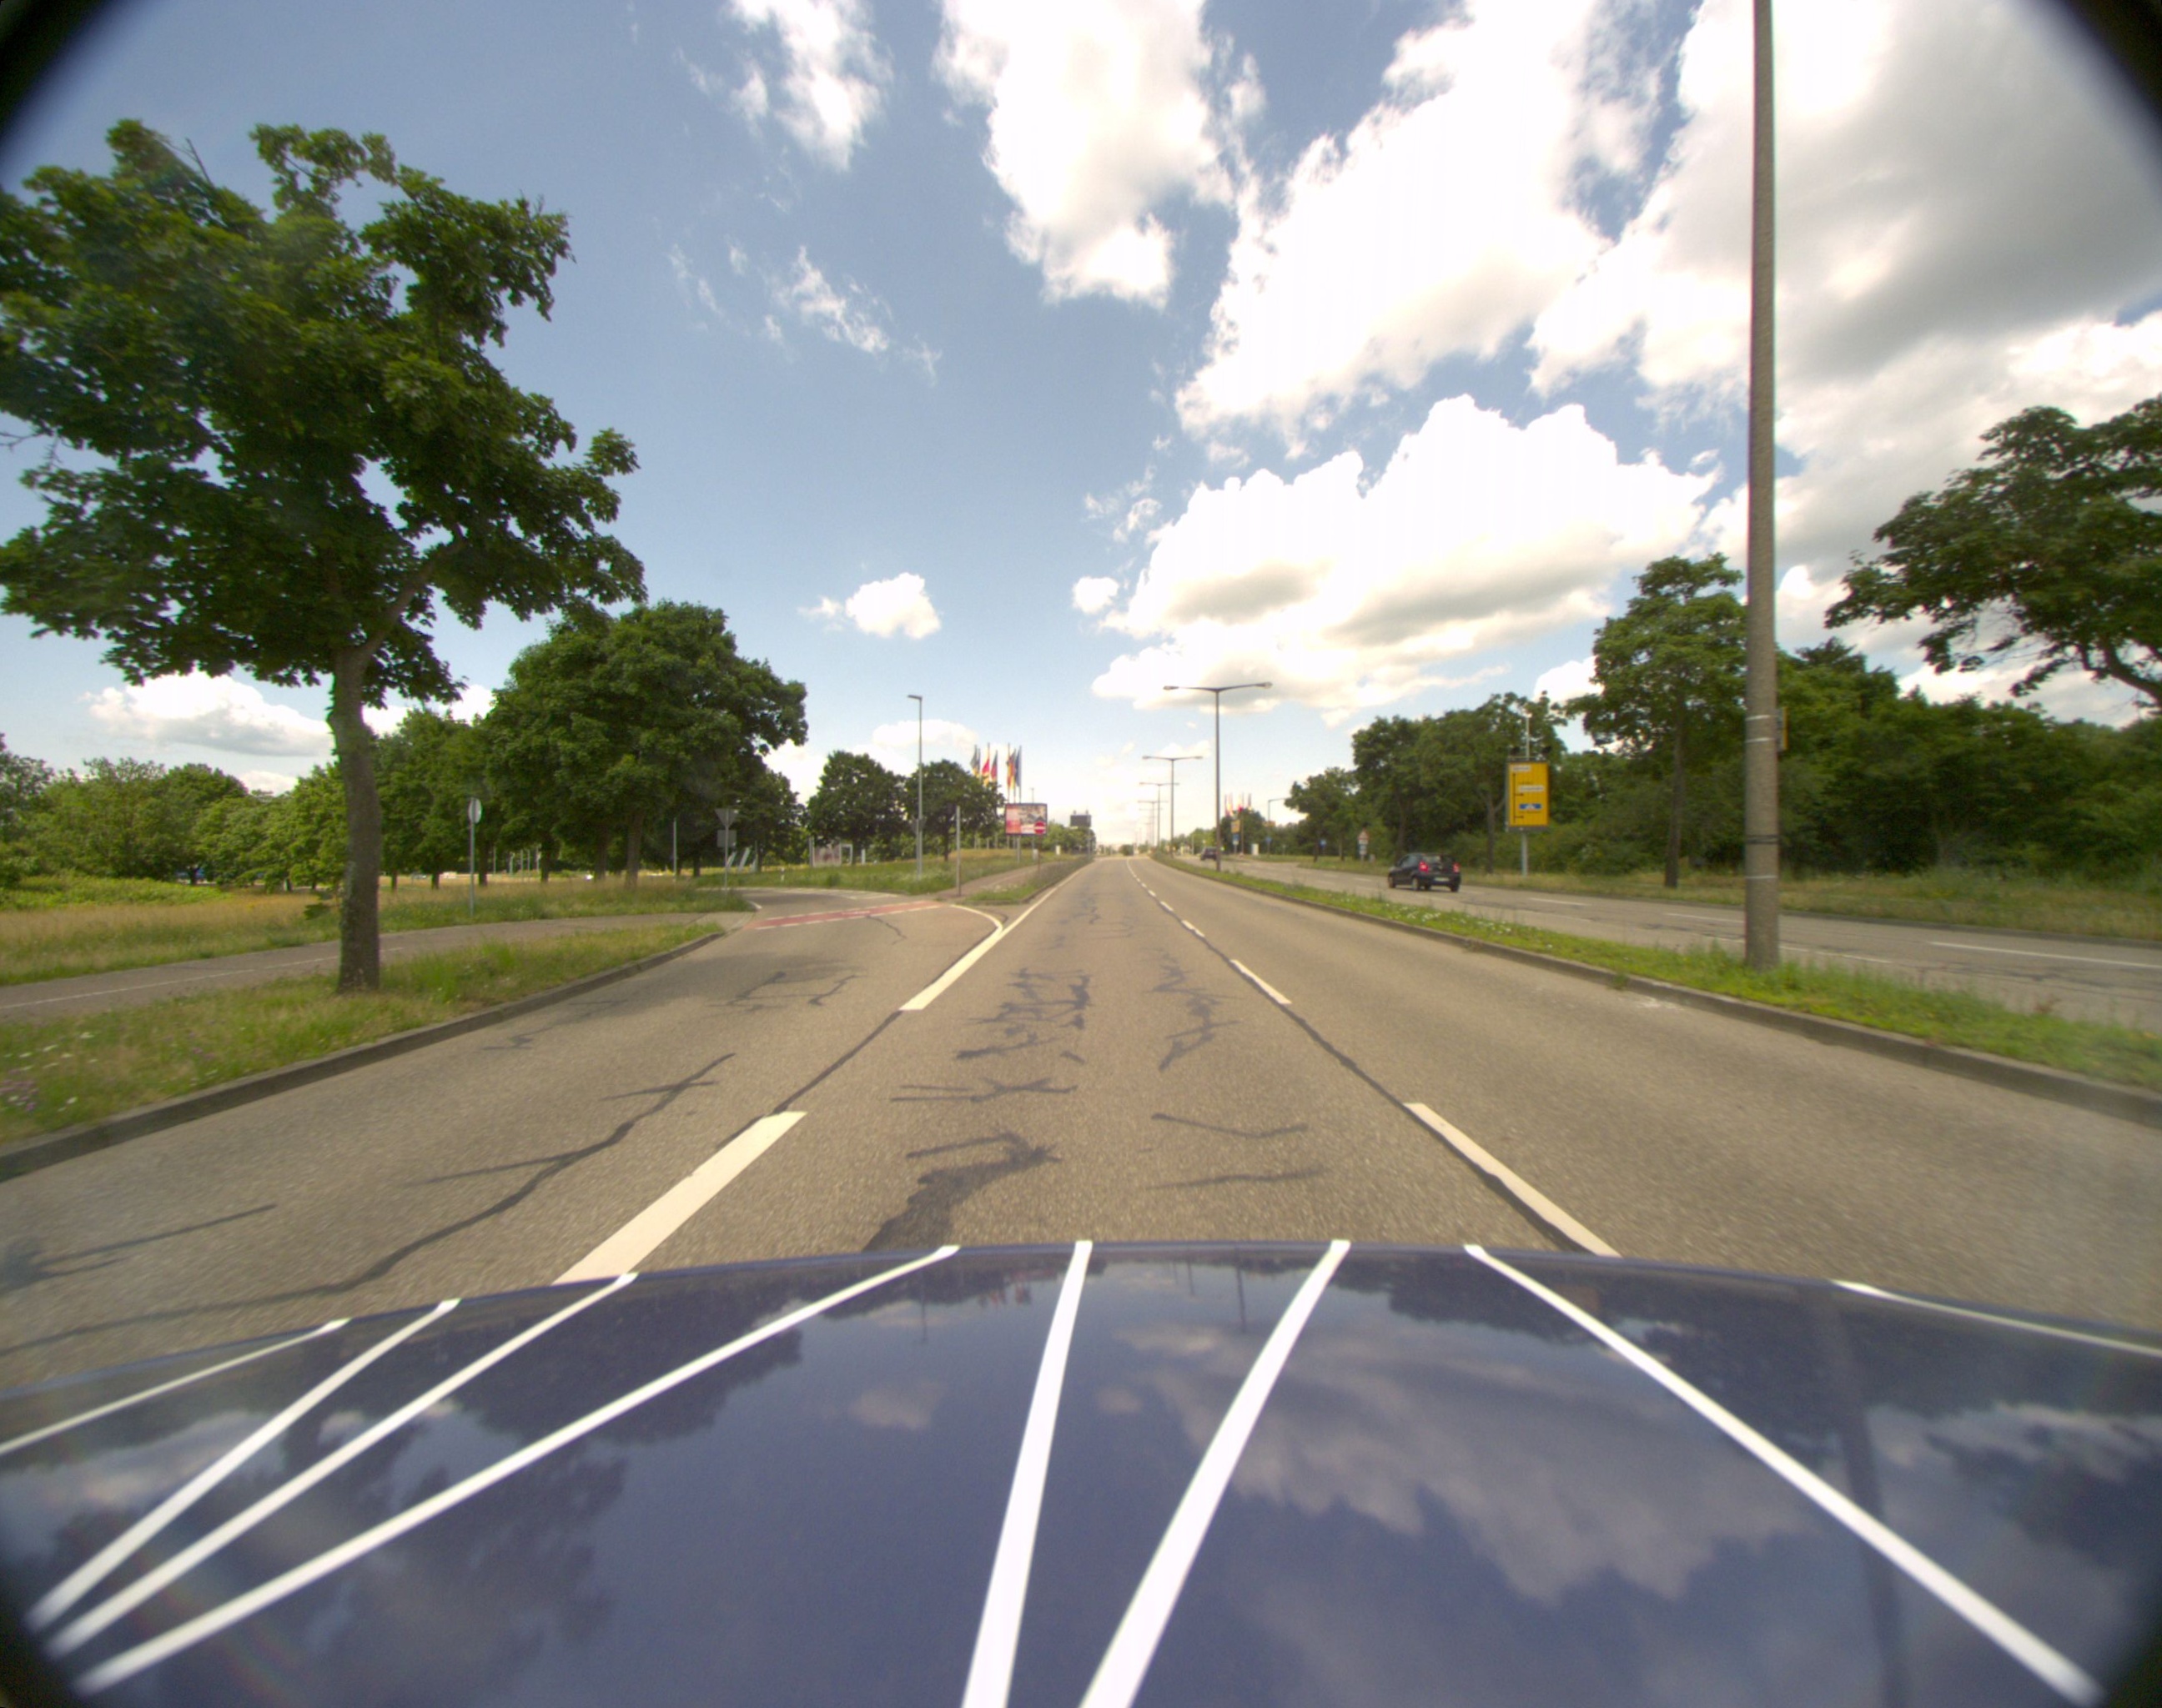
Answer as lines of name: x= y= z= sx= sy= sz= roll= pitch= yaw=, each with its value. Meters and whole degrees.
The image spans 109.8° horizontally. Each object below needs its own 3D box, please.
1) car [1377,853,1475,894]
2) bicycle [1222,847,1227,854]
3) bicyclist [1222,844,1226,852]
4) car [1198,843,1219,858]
car: x=13.208 y=0.699 z=29.331 sx=1.706 sy=1.419 sz=3.671 roll=0 pitch=1 yaw=-8
bicycle: x=23.278 y=-0.521 z=123.538 sx=0.433 sy=1.062 sz=1.908 roll=-2 pitch=-1 yaw=1
bicyclist: x=23.232 y=-0.999 z=123.478 sx=0.522 sy=1.265 sz=1.107 roll=-2 pitch=0 yaw=1
car: x=16.134 y=-0.445 z=96.564 sx=1.881 sy=1.780 sz=4.728 roll=2 pitch=1 yaw=1
